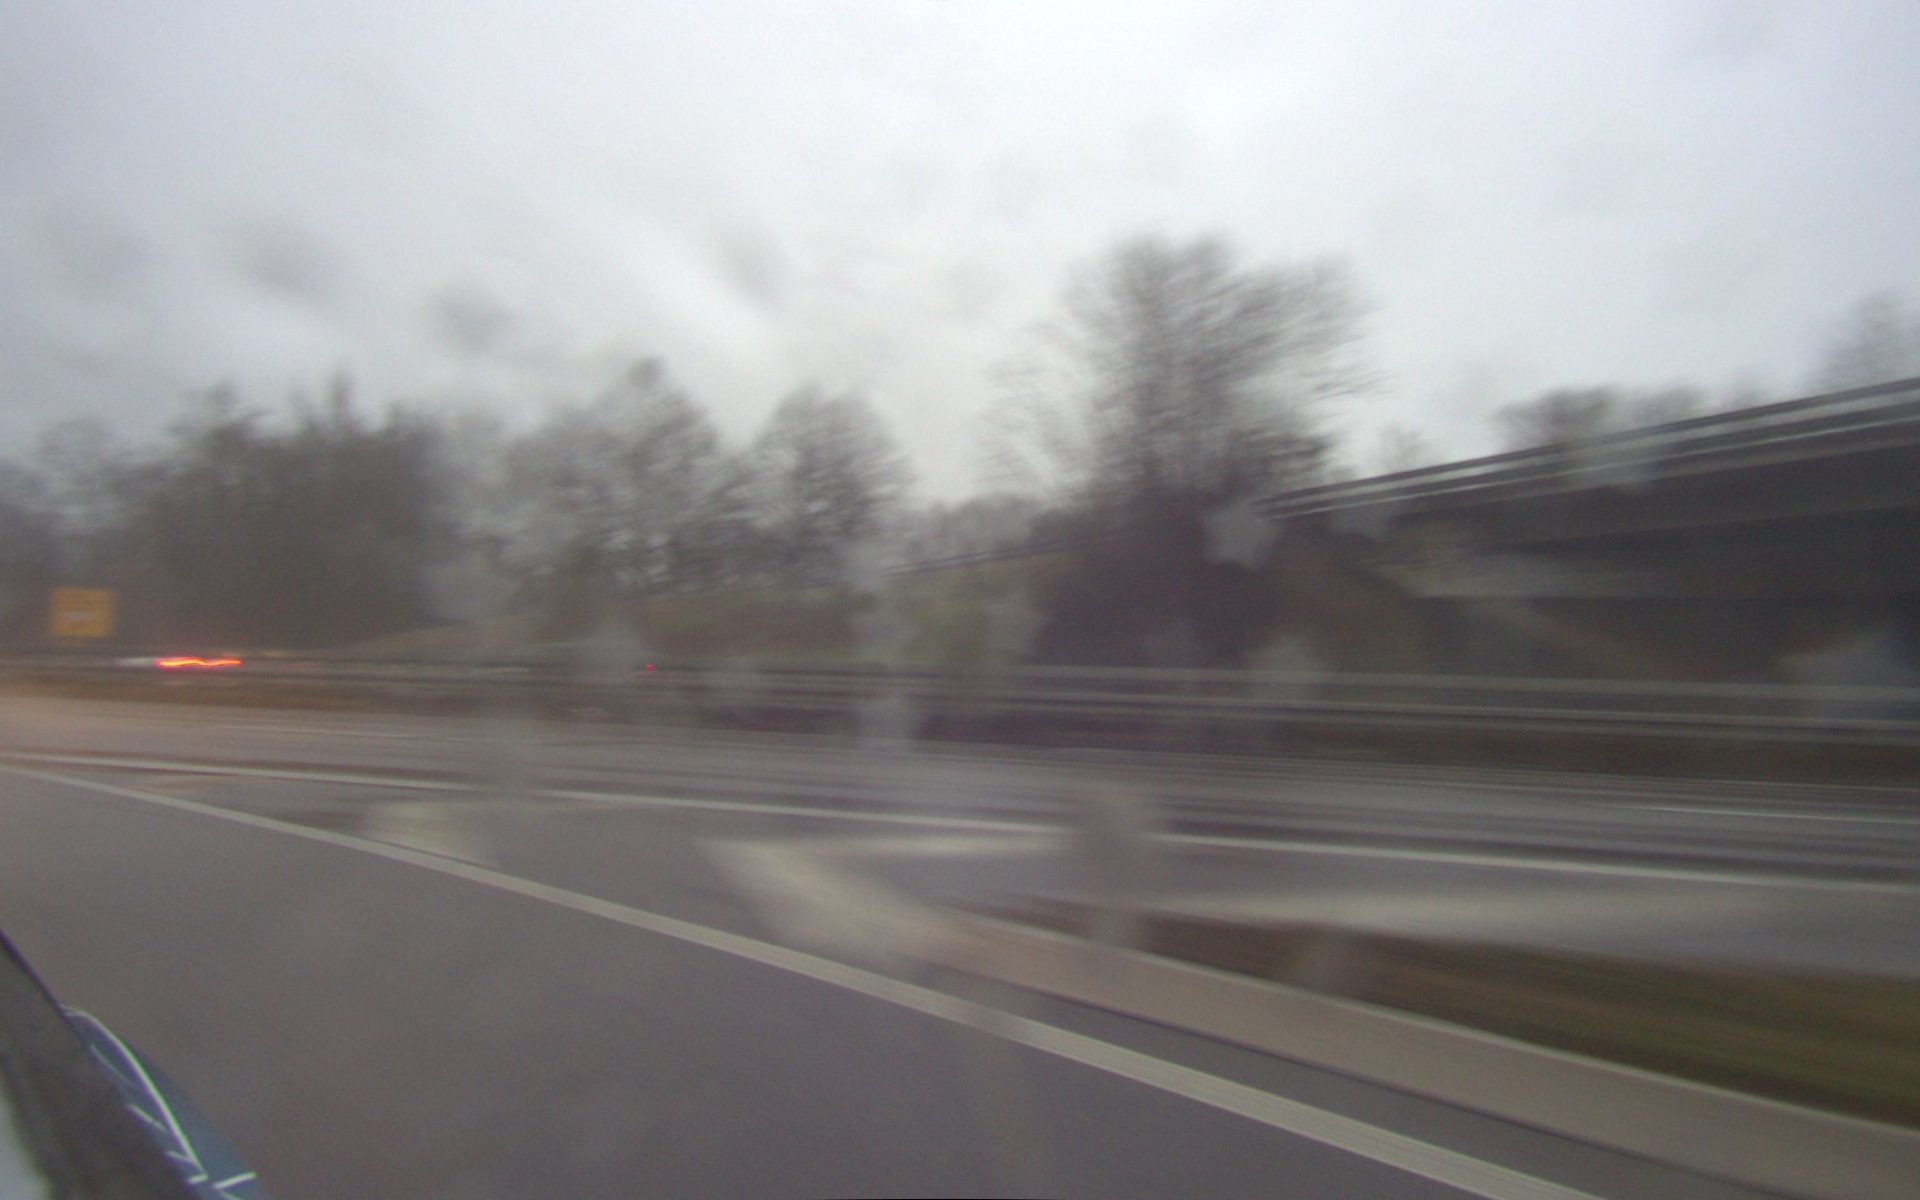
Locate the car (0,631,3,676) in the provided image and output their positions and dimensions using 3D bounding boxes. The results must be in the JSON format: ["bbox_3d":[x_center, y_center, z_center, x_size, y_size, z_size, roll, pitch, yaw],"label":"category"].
[{"bbox_3d":[-36.112,1.873,35.664,4.647,1.581,1.746,0,-1,23],"label":"car"}]

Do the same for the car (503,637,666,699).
[{"bbox_3d":[-10.594,1.869,28.562,4.159,1.581,1.749,0,-1,19],"label":"car"}]

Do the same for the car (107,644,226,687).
[{"bbox_3d":[-31.421,2.565,40.081,4.367,1.581,1.747,0,-1,21],"label":"car"}]
